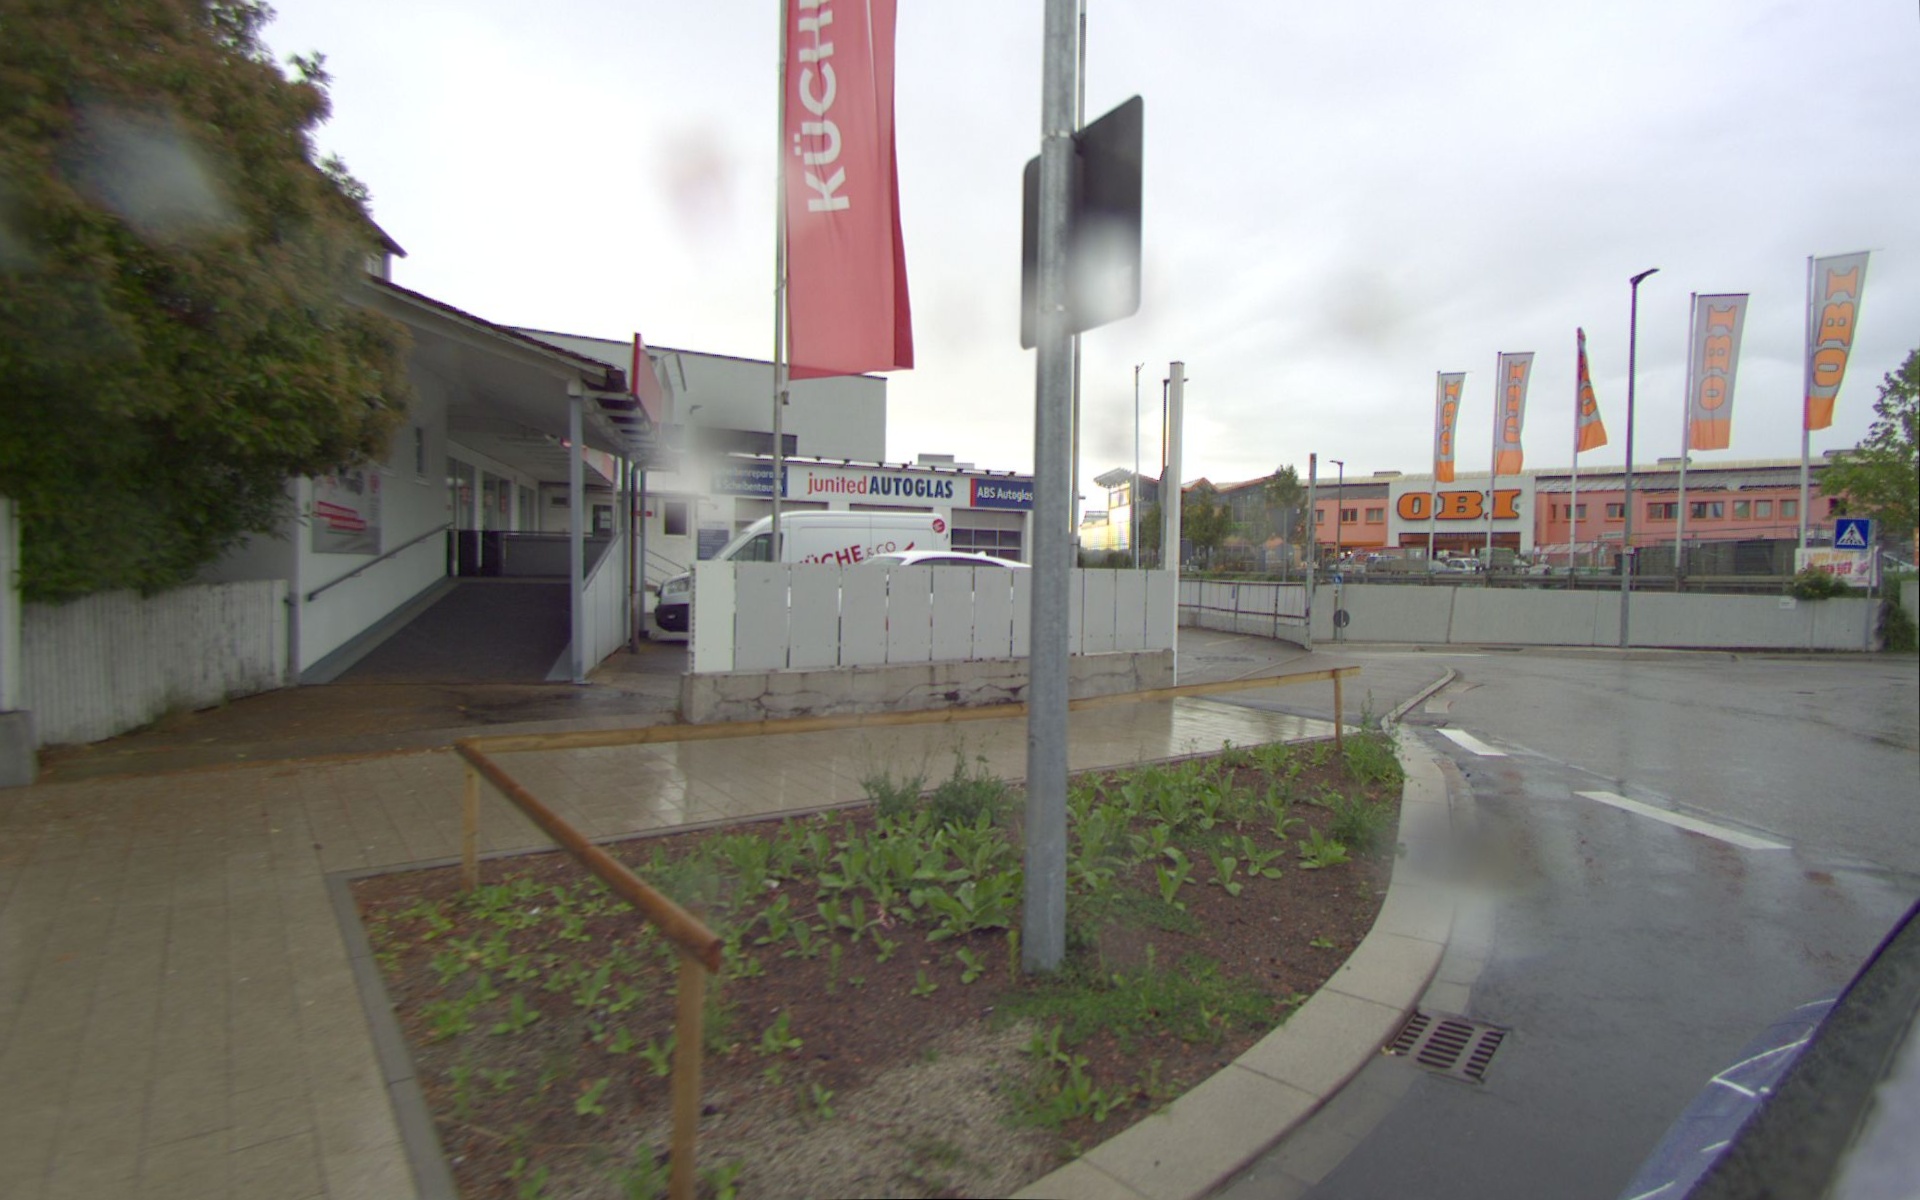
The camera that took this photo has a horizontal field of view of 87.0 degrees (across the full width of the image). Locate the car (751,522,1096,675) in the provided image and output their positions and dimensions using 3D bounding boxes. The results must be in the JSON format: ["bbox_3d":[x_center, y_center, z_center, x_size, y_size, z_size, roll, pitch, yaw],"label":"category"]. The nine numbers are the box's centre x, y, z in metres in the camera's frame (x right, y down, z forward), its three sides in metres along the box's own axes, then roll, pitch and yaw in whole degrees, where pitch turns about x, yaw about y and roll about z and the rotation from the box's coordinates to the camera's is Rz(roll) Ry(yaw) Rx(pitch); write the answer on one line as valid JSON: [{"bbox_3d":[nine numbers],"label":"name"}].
[{"bbox_3d":[-0.436,-0.045,13.151,4.087,1.712,1.849,0,1,-30],"label":"car"}]

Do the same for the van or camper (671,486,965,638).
[{"bbox_3d":[-2.696,-0.654,18.919,5.152,2.572,2.135,0,1,-17],"label":"van or camper"}]
